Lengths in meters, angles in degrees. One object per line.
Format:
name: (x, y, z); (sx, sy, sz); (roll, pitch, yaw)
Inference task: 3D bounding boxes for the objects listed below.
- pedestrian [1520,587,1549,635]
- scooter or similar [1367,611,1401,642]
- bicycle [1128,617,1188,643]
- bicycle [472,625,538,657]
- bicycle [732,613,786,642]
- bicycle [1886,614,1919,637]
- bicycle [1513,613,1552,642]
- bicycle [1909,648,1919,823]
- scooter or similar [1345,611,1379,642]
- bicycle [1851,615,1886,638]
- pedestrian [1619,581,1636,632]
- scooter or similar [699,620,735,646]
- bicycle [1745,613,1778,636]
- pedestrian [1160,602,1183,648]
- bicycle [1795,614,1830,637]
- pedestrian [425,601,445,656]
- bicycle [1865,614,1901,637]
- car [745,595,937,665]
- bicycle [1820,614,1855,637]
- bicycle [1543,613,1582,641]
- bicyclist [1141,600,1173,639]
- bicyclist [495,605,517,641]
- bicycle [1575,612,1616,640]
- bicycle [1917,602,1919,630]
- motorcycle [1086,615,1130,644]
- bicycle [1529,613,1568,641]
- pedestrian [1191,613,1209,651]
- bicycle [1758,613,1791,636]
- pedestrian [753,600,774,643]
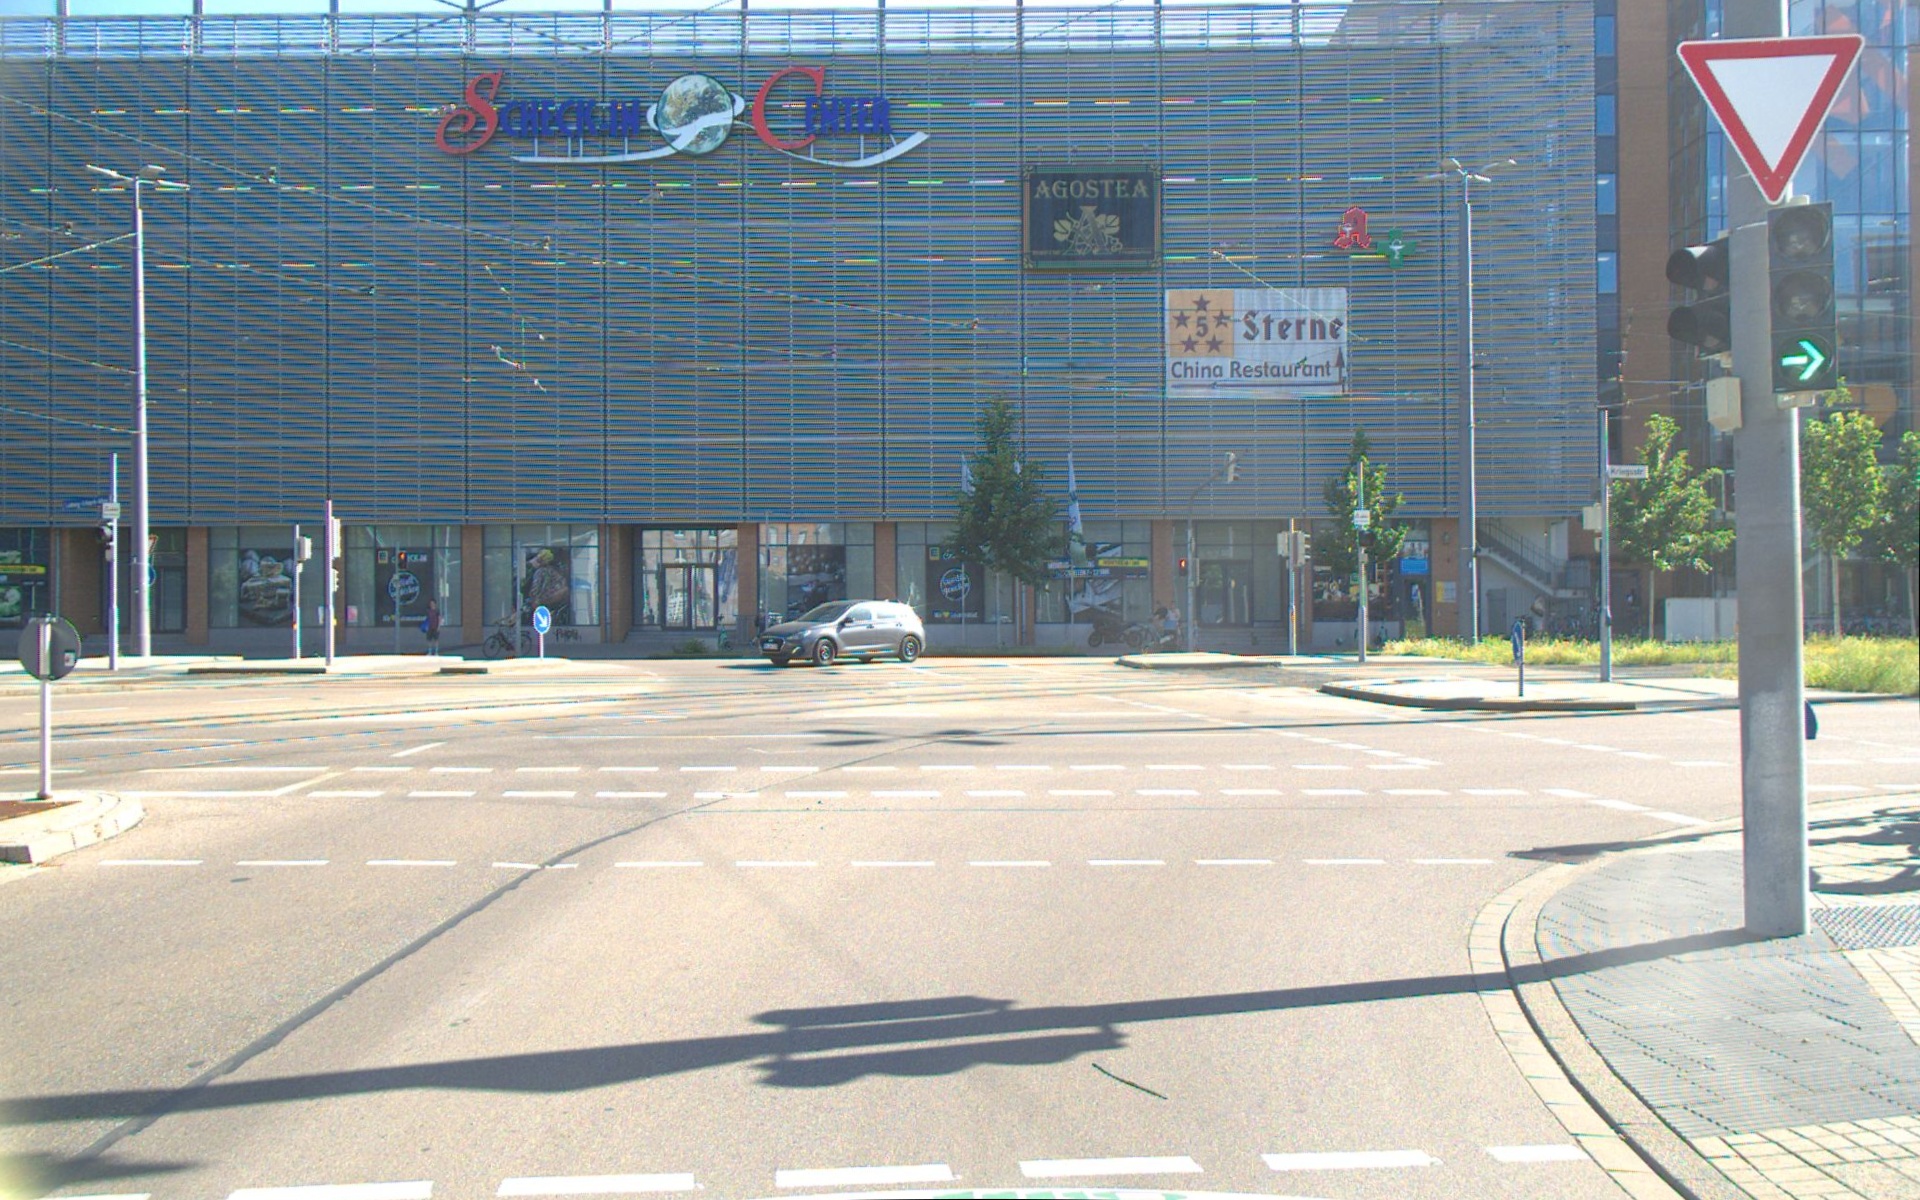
pedestrian: (20.469, 0.391, 58.972); (0.763, 1.714, 0.595); (0, -1, -14)
scooter or similar: (15.792, 0.998, 61.577); (1.177, 1.122, 0.277); (1, -1, 1)
bicycle: (6.917, 1.042, 57.740); (2.000, 0.882, 0.682); (0, -1, -2)
bicycle: (-14.825, 1.320, 53.922); (1.997, 1.003, 0.553); (0, -1, -34)
bicycle: (-7.265, 0.987, 59.921); (1.907, 1.056, 0.572); (0, -1, -5)
bicycle: (35.755, 0.962, 62.629); (0.435, 0.833, 1.449); (0, 1, -6)
bicycle: (21.056, 1.002, 60.822); (0.482, 0.971, 2.177); (0, 1, -6)
bicycle: (6.524, 0.840, 9.720); (0.680, 1.124, 2.011); (-1, -2, -1)
scooter or similar: (14.902, 0.997, 61.255); (1.177, 1.122, 0.277); (1, -1, 1)
bicycle: (34.308, 0.989, 62.462); (0.435, 0.833, 1.449); (0, 1, -6)
pedestrian: (25.973, 0.259, 64.351); (0.528, 1.948, 0.374); (1, -1, 7)
scooter or similar: (-8.184, 1.118, 55.713); (1.198, 0.866, 0.301); (0, -1, -4)
bicycle: (30.259, 0.919, 62.453); (0.435, 0.833, 1.449); (0, 1, -6)
pedestrian: (7.047, 0.820, 55.064); (0.723, 1.513, 0.490); (0, -1, 9)
bicycle: (32.151, 0.947, 62.392); (0.435, 0.833, 1.449); (0, 1, -6)
pedestrian: (-17.214, 0.916, 54.176); (0.614, 1.782, 0.586); (0, -1, -19)
bicycle: (34.902, 0.972, 62.579); (0.435, 0.833, 1.449); (0, 1, -6)
car: (-2.730, 0.666, 38.540); (1.966, 1.526, 4.279); (-1, -1, 44)
bicycle: (33.146, 0.968, 62.513); (0.435, 0.833, 1.449); (0, 1, -6)
bicycle: (22.292, 0.984, 61.237); (0.482, 0.971, 2.177); (0, 1, -6)
bicyclist: (6.867, 0.670, 57.752); (1.015, 1.341, 0.682); (0, -1, -2)
bicyclist: (-14.797, 0.757, 53.954); (0.556, 1.159, 0.553); (0, -1, -34)
bicycle: (23.504, 0.959, 61.190); (0.482, 0.971, 2.177); (0, 1, -6)
bicycle: (39.230, 0.651, 65.900); (0.736, 1.143, 2.177); (0, 1, -6)
motorcycle: (5.370, 1.063, 60.124); (1.581, 1.056, 0.402); (0, -1, 0)
bicycle: (21.661, 0.983, 60.913); (0.482, 0.971, 2.177); (0, 1, -6)
pedestrian: (7.888, 1.048, 54.289); (0.445, 1.250, 0.391); (0, -1, -40)
bicycle: (30.774, 0.927, 62.509); (0.435, 0.833, 1.449); (0, 1, -6)
pedestrian: (-7.010, 0.772, 59.006); (0.633, 1.545, 0.491); (0, -1, 4)
